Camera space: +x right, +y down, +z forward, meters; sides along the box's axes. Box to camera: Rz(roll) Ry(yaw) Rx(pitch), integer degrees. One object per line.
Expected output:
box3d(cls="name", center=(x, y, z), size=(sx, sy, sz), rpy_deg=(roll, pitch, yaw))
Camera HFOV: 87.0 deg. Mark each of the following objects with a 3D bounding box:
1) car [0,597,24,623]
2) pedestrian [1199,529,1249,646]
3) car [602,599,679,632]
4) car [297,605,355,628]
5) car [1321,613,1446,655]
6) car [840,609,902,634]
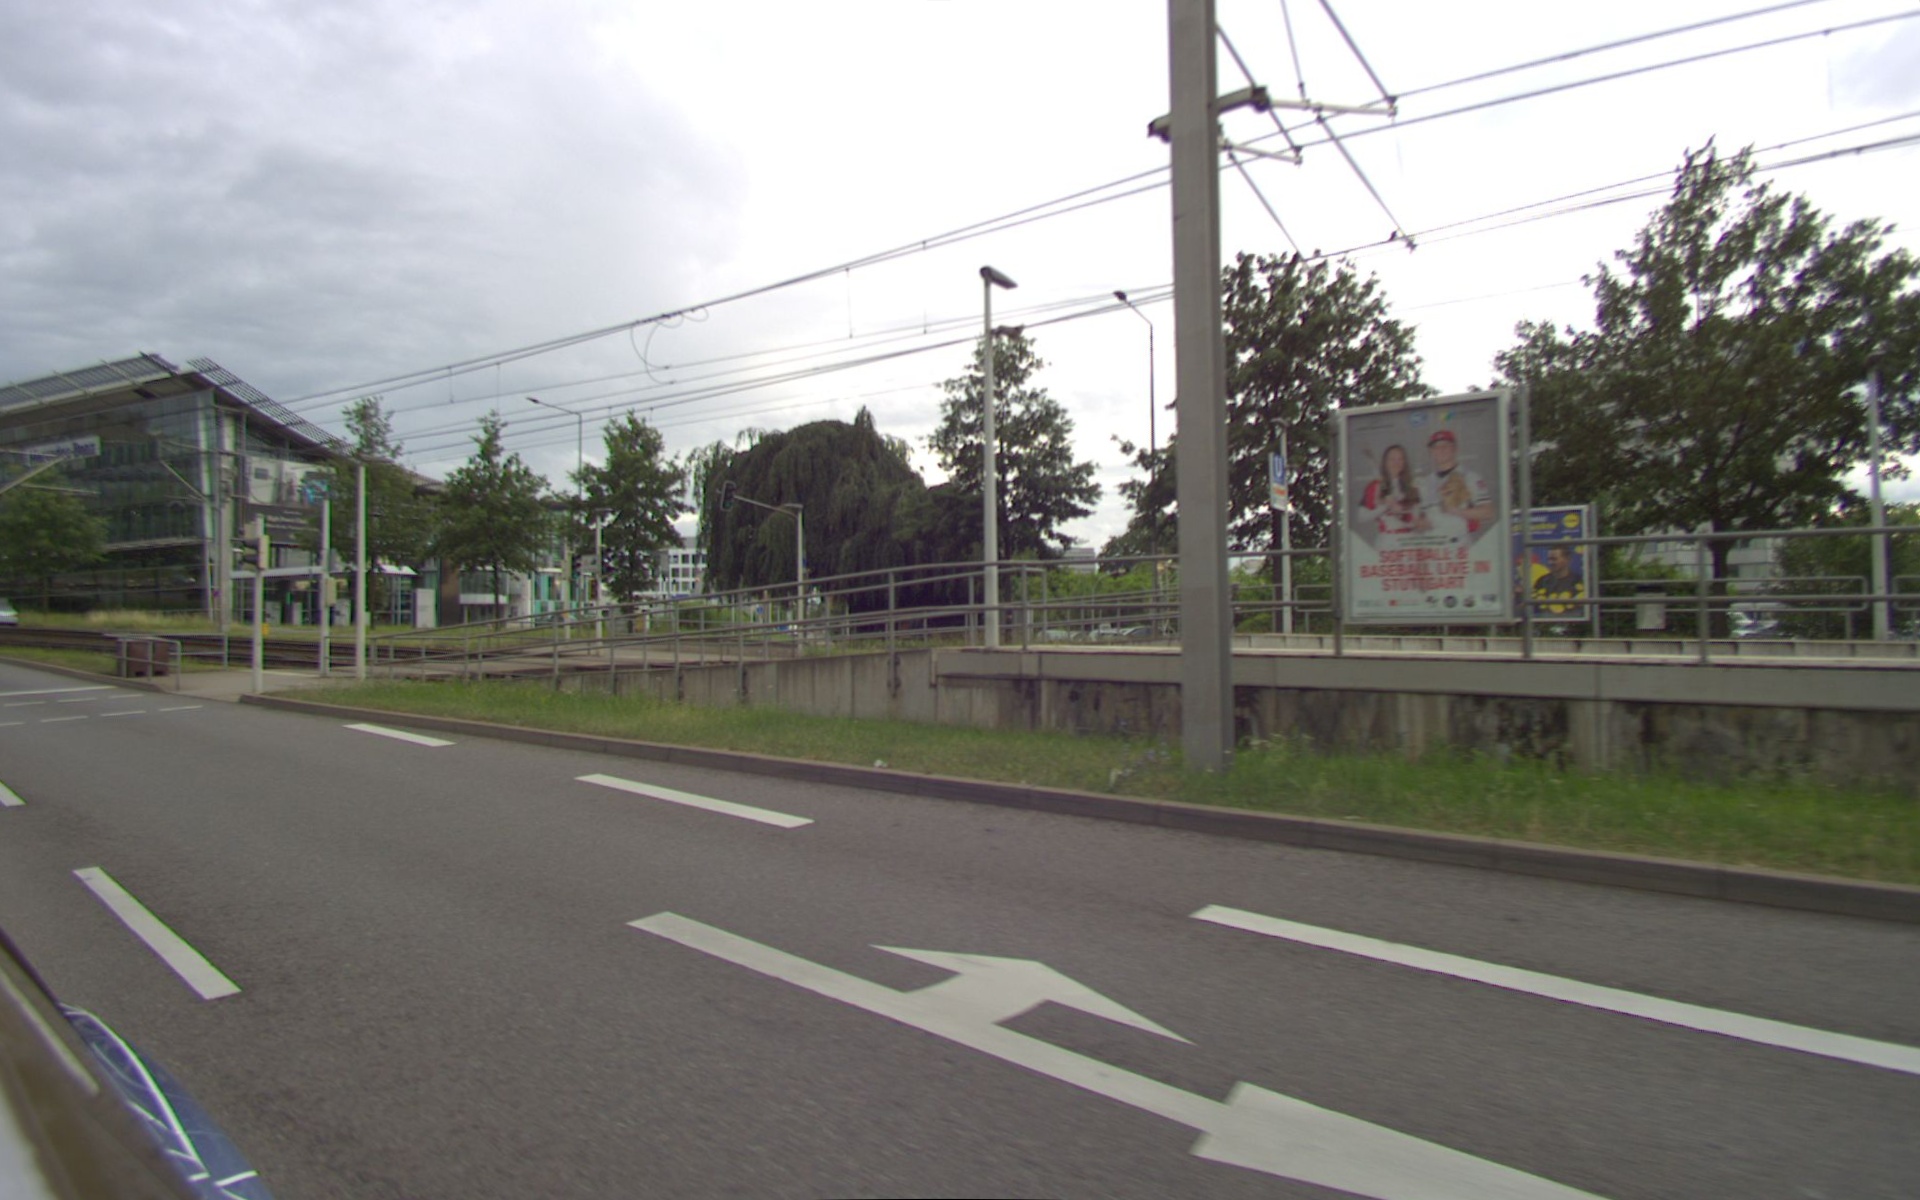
box3d(cls="car", center=(-66.726, 0.681, 69.543), size=(3.971, 1.692, 1.986), rpy_deg=(0, 1, 21))
box3d(cls="pedestrian", center=(4.576, -0.226, 17.536), size=(0.662, 1.967, 0.545), rpy_deg=(2, 1, 32))
box3d(cls="car", center=(-17.989, 0.850, 56.963), size=(3.982, 1.663, 1.981), rpy_deg=(2, 2, 29))
box3d(cls="car", center=(-56.233, 1.428, 89.846), size=(3.940, 1.864, 1.897), rpy_deg=(1, 1, -3))
box3d(cls="car", center=(16.439, 1.310, 39.395), size=(3.939, 1.425, 2.003), rpy_deg=(1, 1, -5))
box3d(cls="car", center=(-5.816, 1.400, 66.682), size=(3.942, 1.521, 2.001), rpy_deg=(1, 1, -2))
